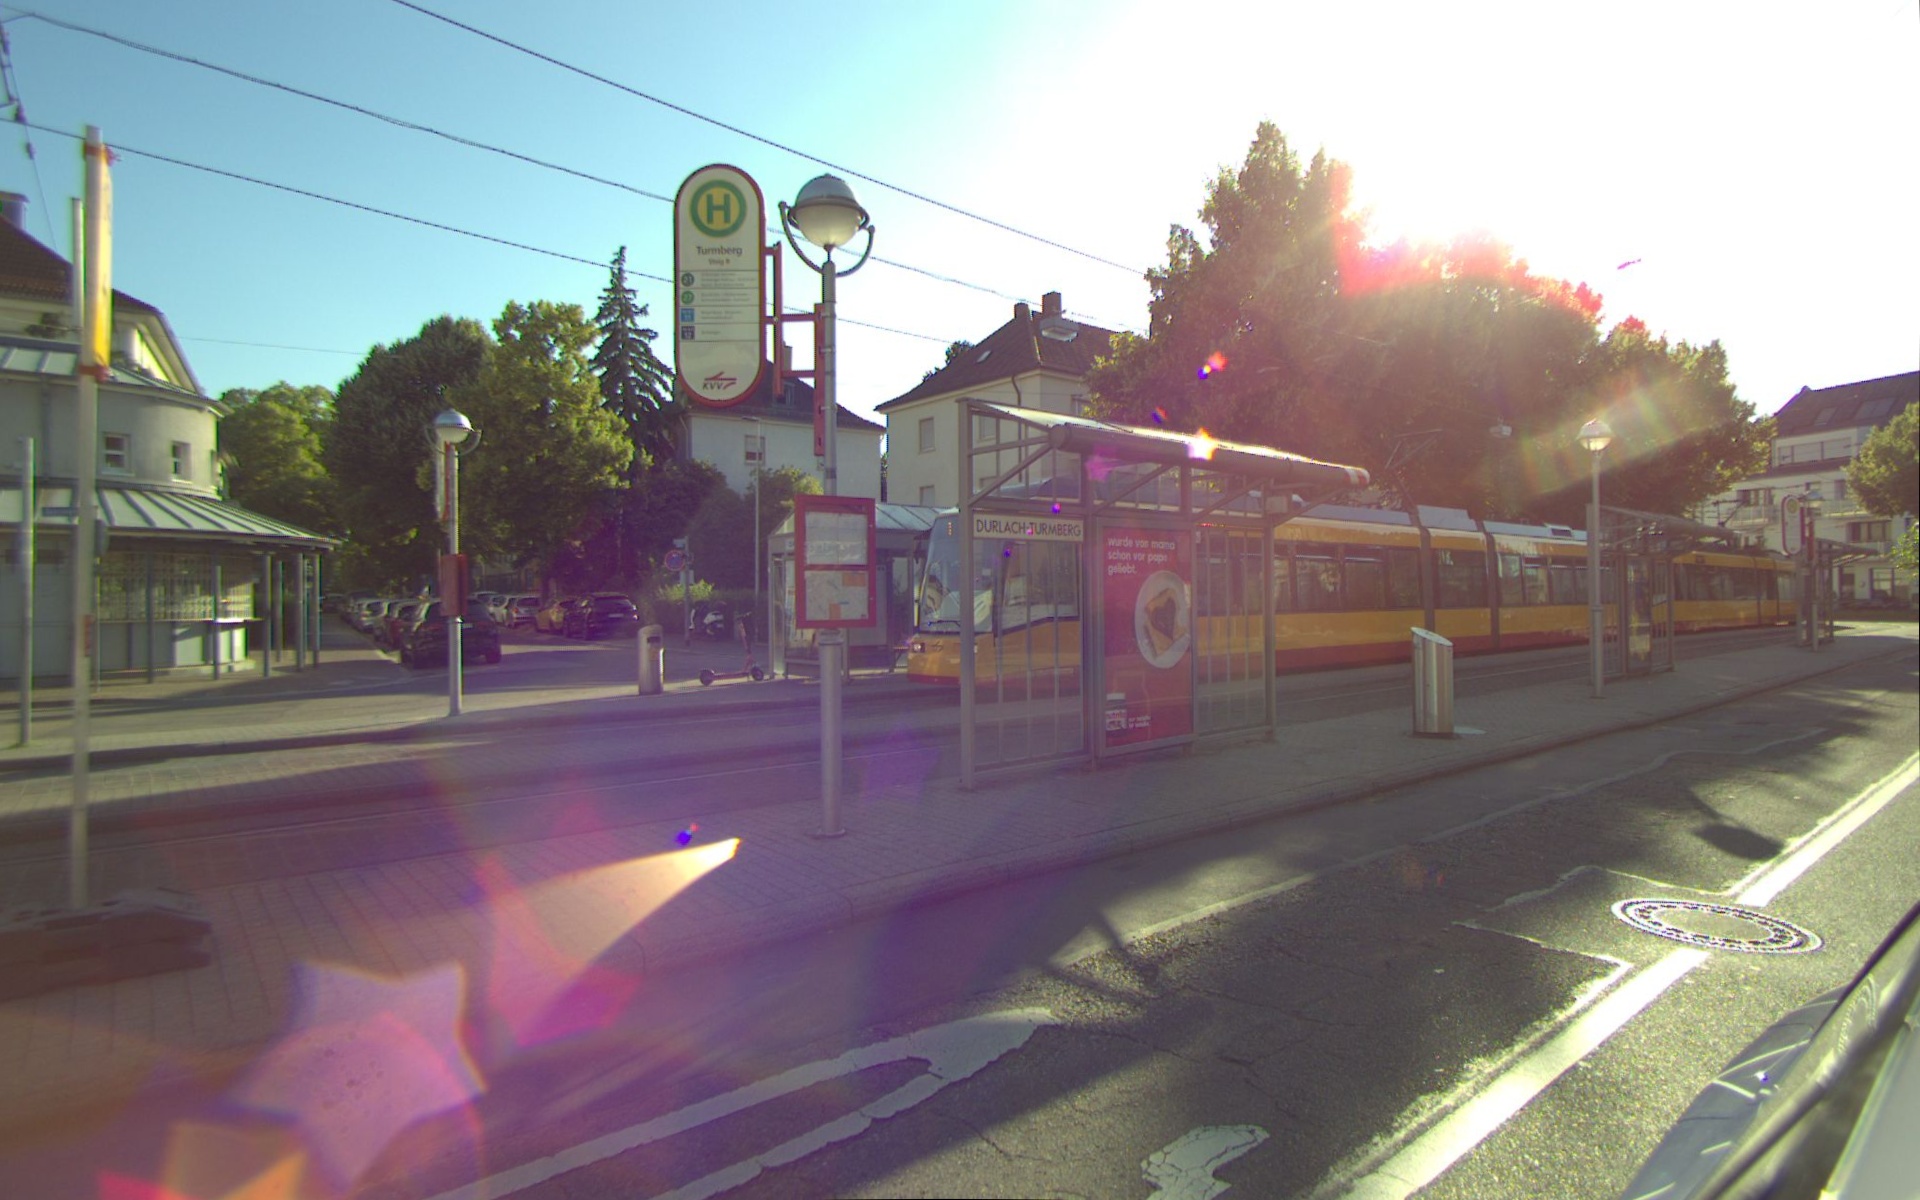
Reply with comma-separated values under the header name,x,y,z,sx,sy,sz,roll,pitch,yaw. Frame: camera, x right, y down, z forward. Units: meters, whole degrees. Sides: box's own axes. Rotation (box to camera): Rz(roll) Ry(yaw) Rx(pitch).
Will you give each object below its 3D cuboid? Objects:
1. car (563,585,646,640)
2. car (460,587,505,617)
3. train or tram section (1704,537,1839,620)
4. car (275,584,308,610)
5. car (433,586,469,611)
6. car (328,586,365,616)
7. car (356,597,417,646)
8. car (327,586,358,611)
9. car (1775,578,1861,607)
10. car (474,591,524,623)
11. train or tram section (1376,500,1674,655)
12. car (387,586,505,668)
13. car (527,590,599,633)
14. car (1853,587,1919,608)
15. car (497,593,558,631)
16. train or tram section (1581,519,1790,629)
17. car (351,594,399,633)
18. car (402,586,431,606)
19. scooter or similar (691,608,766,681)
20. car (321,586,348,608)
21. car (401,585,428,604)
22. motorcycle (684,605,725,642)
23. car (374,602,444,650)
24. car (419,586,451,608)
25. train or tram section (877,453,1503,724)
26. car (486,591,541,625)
name,x,y,z,sx,sy,sz,roll,pitch,yaw
car,-12.875,0.403,36.529,1.961,1.837,4.002,-1,1,-33
car,-28.864,0.078,61.140,1.961,1.734,4.002,-1,1,-33
train or tram section,38.498,-0.927,47.721,13.233,3.465,2.961,0,0,-42
car,-44.792,-0.249,67.895,1.759,1.642,3.813,-1,1,-33
car,-37.852,-0.157,75.215,1.961,1.734,4.002,-1,1,-33
car,-36.762,0.016,60.595,1.759,1.679,3.813,-1,1,-33
car,-21.475,0.742,37.852,1.759,1.642,3.813,-1,1,-33
car,-42.858,-0.146,70.243,1.759,1.679,3.813,-1,1,-33
car,61.233,-0.533,72.312,1.958,1.981,4.281,0,1,-20
car,-25.507,0.339,55.922,1.961,1.618,4.002,-1,1,-33
train or tram section,16.508,-0.699,28.734,13.228,3.578,2.963,-2,1,-40
car,-12.758,0.566,24.974,1.962,1.791,4.453,0,1,-35
car,-16.114,0.423,40.997,1.961,1.618,4.002,-1,1,-33
car,62.315,-0.164,67.212,1.895,1.364,4.133,-1,0,-13
car,-20.172,0.518,47.137,1.961,1.618,4.002,-1,1,-33
train or tram section,27.826,-0.869,38.210,15.662,3.465,2.962,0,0,-41
car,-27.337,0.583,47.247,1.759,1.642,3.813,-1,1,-33
car,-48.601,-0.399,90.433,1.961,1.734,4.002,-1,1,-33
scooter or similar,-4.000,0.752,17.494,1.184,1.223,0.468,0,0,-28
car,-51.247,-0.262,82.885,1.759,1.679,3.813,-1,1,-33
car,-52.636,-0.525,97.601,1.961,1.734,4.002,-1,1,-33
motorcycle,-8.388,0.745,33.190,0.548,1.177,1.824,0,0,-41
car,-18.290,0.809,33.516,1.759,1.406,3.813,-1,1,-33
car,-42.471,-0.264,81.858,1.961,1.734,4.002,-1,1,-33
train or tram section,5.666,-0.358,19.558,15.690,3.578,2.963,-2,2,-40
car,-22.806,0.363,51.656,1.961,1.618,4.002,-1,1,-33
